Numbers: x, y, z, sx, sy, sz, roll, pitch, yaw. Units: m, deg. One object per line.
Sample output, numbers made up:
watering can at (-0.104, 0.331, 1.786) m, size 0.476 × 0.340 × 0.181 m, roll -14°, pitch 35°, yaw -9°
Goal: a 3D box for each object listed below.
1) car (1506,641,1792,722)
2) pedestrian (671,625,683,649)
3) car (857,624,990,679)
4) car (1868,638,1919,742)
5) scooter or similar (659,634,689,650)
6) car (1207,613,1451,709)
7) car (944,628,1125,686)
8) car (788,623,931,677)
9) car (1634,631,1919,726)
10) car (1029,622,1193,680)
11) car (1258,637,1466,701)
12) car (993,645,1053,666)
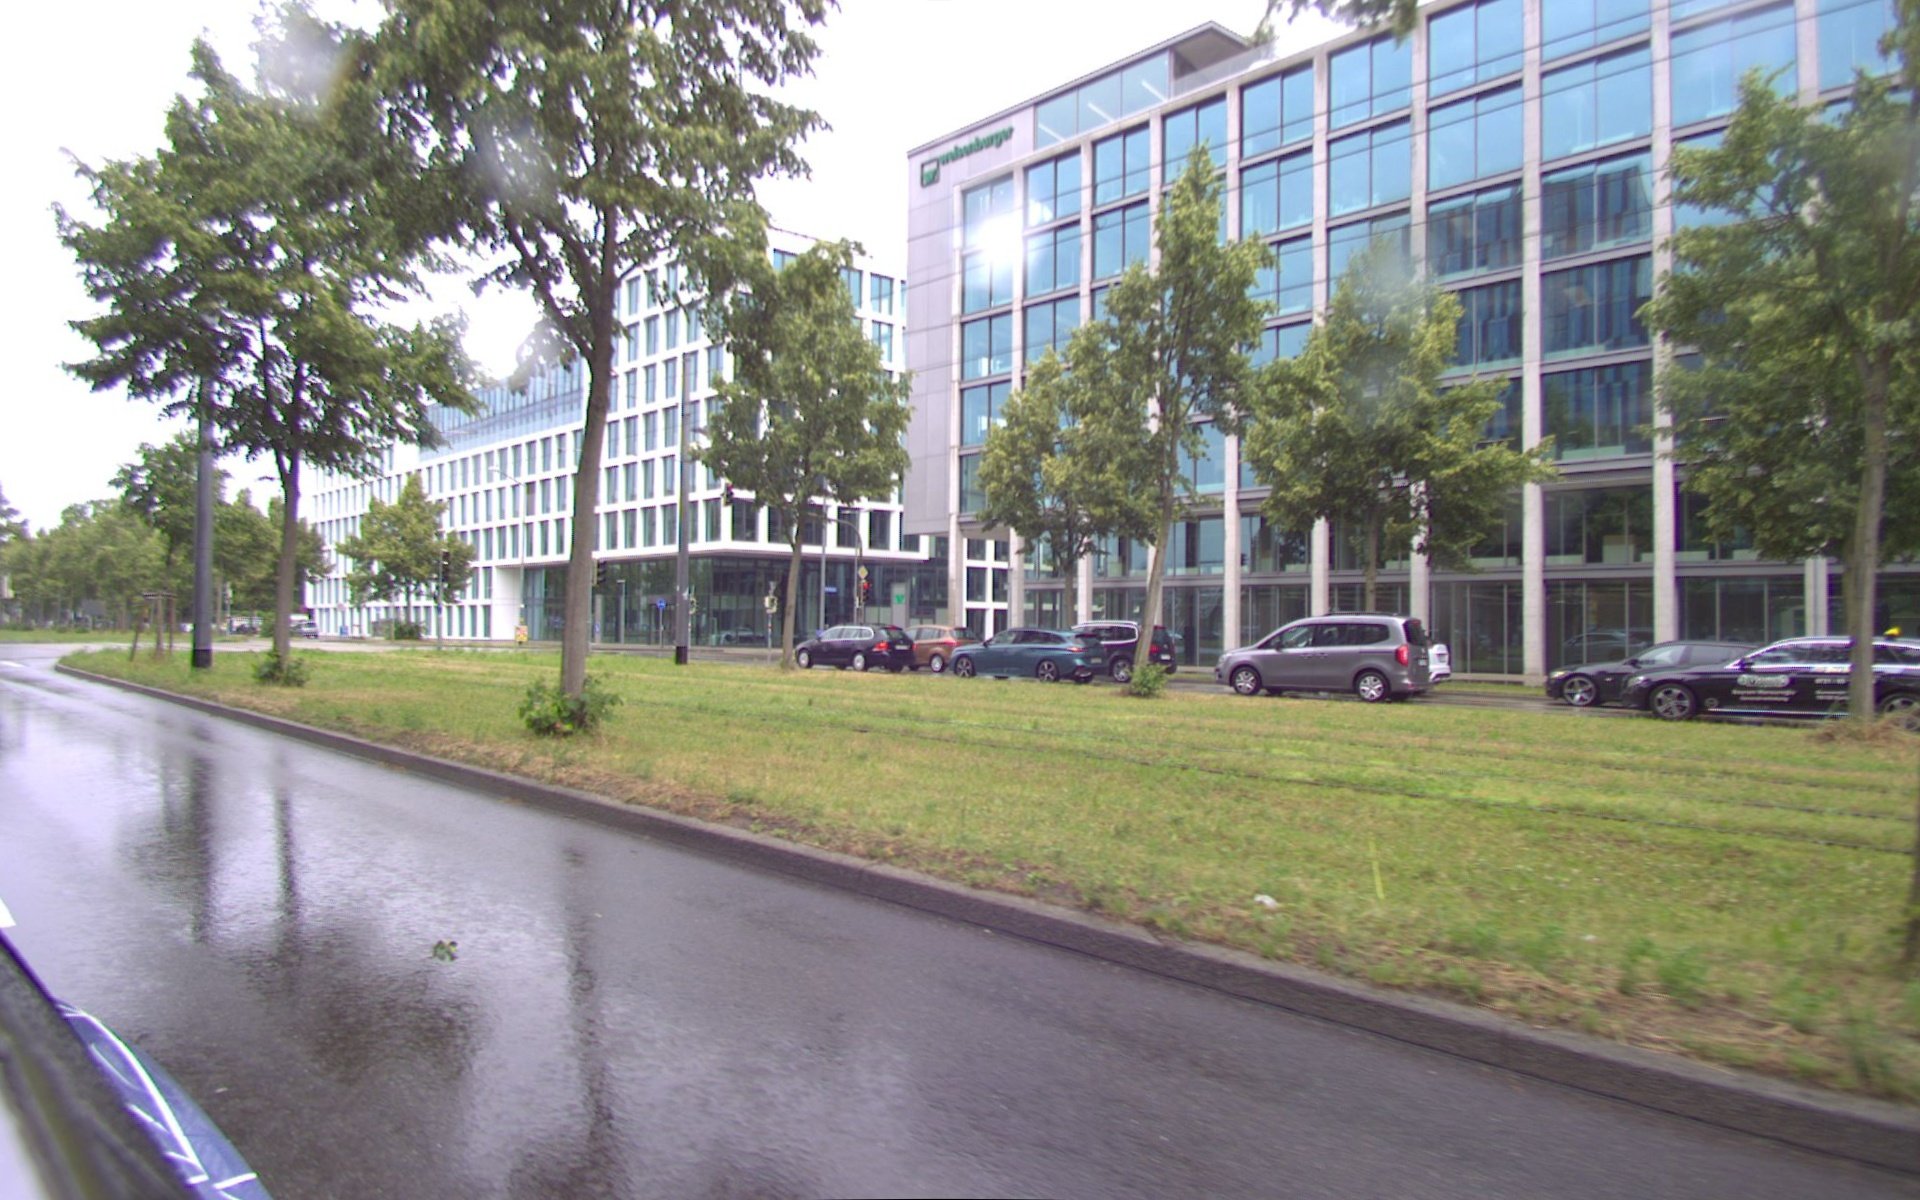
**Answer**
car at (13.955, 1.631, 20.677) m, size 4.621 × 1.457 × 1.840 m, roll -4°, pitch -4°, yaw 40°
pedestrian at (-20.130, 2.612, 71.979) m, size 0.546 × 1.656 × 0.626 m, roll 0°, pitch -2°, yaw 43°
car at (-1.270, 1.674, 33.931) m, size 4.269 × 1.707 × 1.931 m, roll 0°, pitch -2°, yaw 40°
car at (18.328, 1.477, 16.833) m, size 4.629 × 1.759 × 1.931 m, roll -4°, pitch -4°, yaw 40°
scooter or similar at (-20.303, 2.986, 71.931) m, size 0.550 × 1.161 × 2.134 m, roll -4°, pitch -4°, yaw 39°
car at (7.851, 1.269, 21.820) m, size 4.541 × 1.863 × 1.930 m, roll -2°, pitch -3°, yaw 41°
car at (1.882, 1.509, 26.592) m, size 4.469 × 1.396 × 1.931 m, roll -4°, pitch -4°, yaw 40°
car at (-3.197, 1.554, 31.693) m, size 4.461 × 1.571 × 1.930 m, roll -3°, pitch -3°, yaw 41°
car at (13.850, 1.234, 16.437) m, size 4.601 × 1.396 × 1.930 m, roll -4°, pitch -4°, yaw 41°
car at (4.286, 1.480, 29.088) m, size 4.268 × 1.552 × 1.931 m, roll -4°, pitch -4°, yaw 40°
car at (9.642, 1.660, 24.461) m, size 4.268 × 1.396 × 1.931 m, roll -4°, pitch -4°, yaw 40°
car at (4.583, 4.004, 73.191) m, size 4.027 × 1.447 × 1.892 m, roll 1°, pitch -4°, yaw -35°
